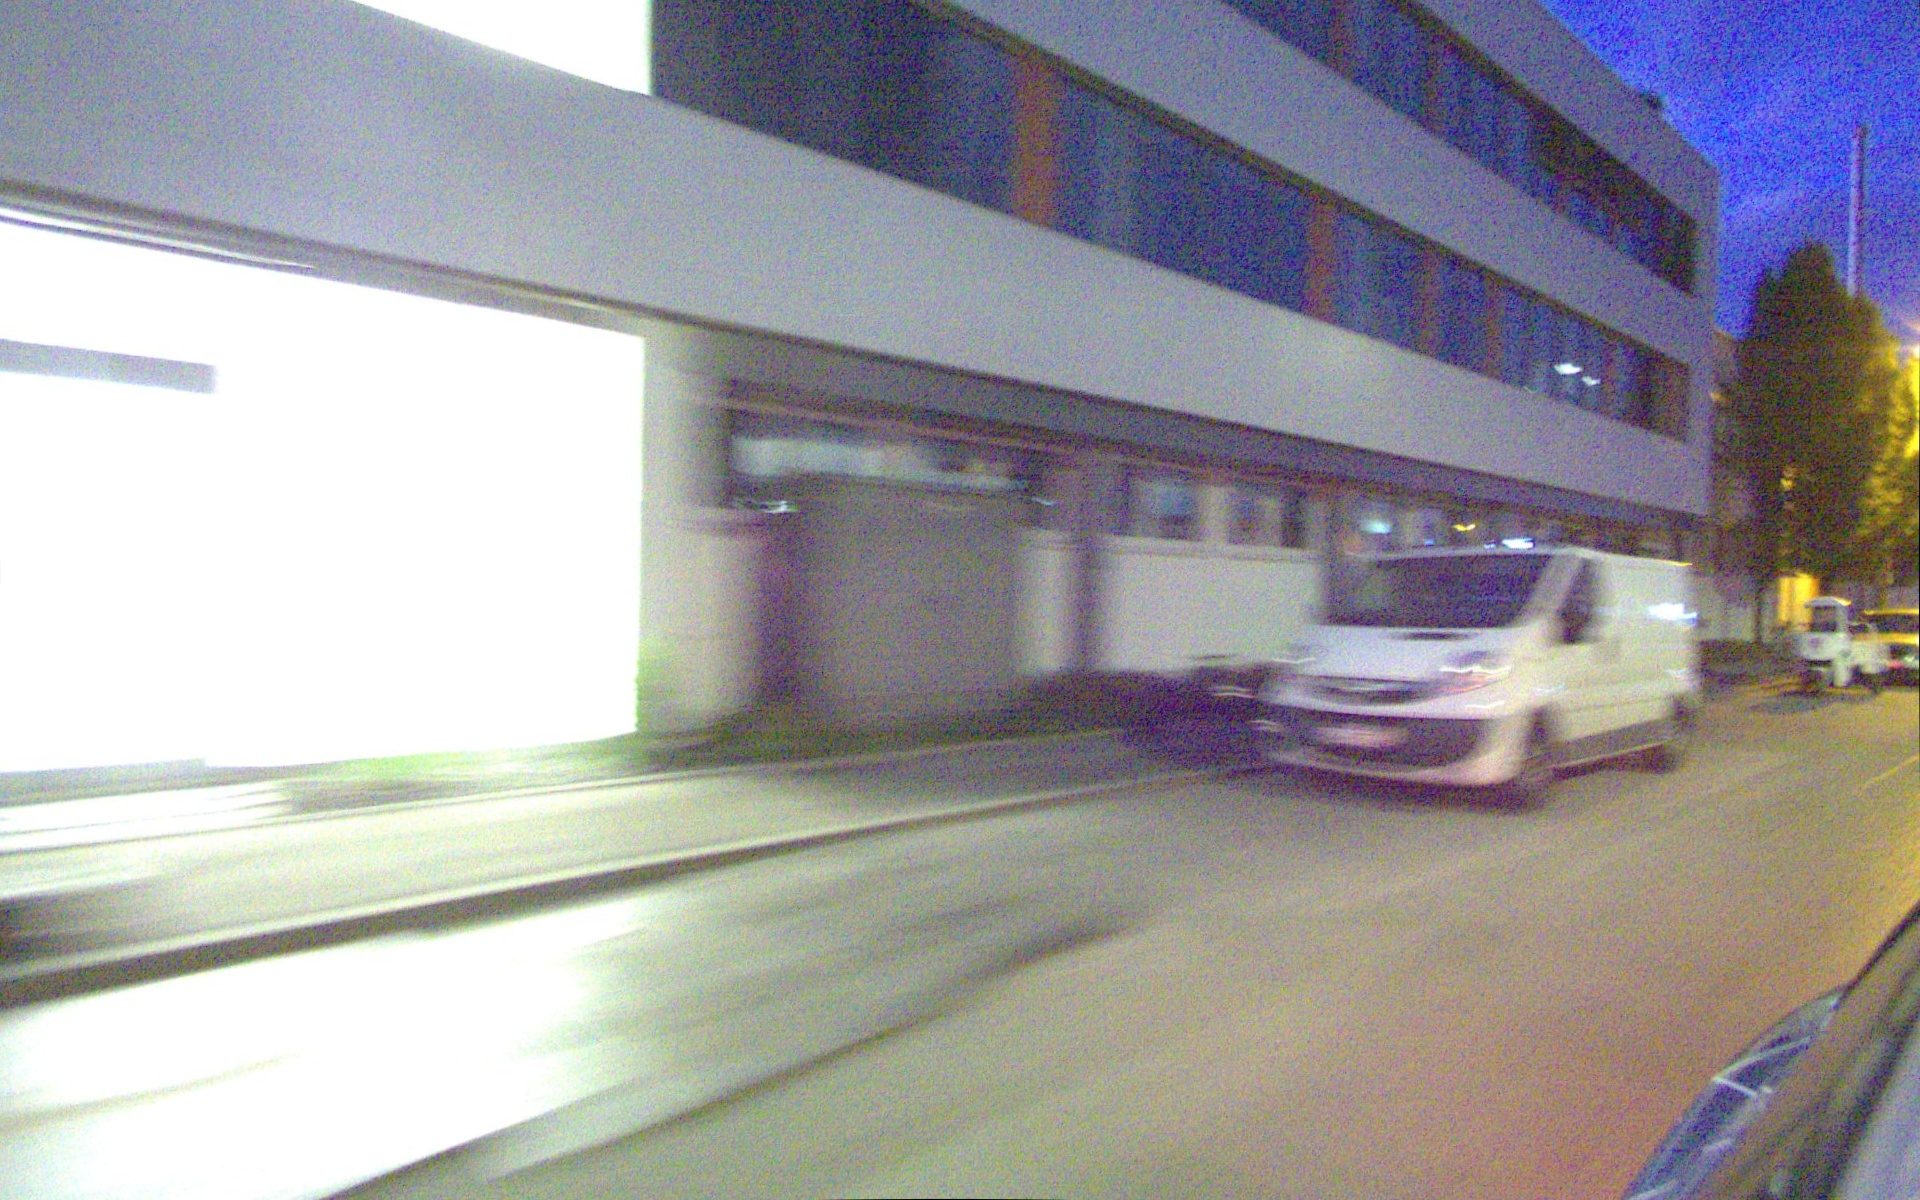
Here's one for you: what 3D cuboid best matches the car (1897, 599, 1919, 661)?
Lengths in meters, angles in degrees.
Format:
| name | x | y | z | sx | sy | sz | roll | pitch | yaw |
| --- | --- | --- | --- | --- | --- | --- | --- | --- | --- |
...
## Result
| name | x | y | z | sx | sy | sz | roll | pitch | yaw |
| --- | --- | --- | --- | --- | --- | --- | --- | --- | --- |
| car | 24.338 | 0.740 | 24.340 | 4.464 | 1.430 | 1.775 | 1 | 1 | -36 |

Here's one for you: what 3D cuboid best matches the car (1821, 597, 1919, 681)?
| name | x | y | z | sx | sy | sz | roll | pitch | yaw |
| --- | --- | --- | --- | --- | --- | --- | --- | --- | --- |
| car | 19.414 | 0.746 | 20.449 | 4.915 | 1.508 | 1.953 | 1 | 1 | -36 |

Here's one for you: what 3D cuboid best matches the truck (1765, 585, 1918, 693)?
| name | x | y | z | sx | sy | sz | roll | pitch | yaw |
| --- | --- | --- | --- | --- | --- | --- | --- | --- | --- |
| truck | 15.314 | 0.611 | 17.522 | 3.743 | 1.665 | 1.373 | 0 | 1 | -39 |

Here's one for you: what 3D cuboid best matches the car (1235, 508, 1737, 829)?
| name | x | y | z | sx | sy | sz | roll | pitch | yaw |
| --- | --- | --- | --- | --- | --- | --- | --- | --- | --- |
| car | 4.707 | 0.413 | 8.724 | 4.822 | 2.038 | 1.999 | 0 | 2 | -38 |
